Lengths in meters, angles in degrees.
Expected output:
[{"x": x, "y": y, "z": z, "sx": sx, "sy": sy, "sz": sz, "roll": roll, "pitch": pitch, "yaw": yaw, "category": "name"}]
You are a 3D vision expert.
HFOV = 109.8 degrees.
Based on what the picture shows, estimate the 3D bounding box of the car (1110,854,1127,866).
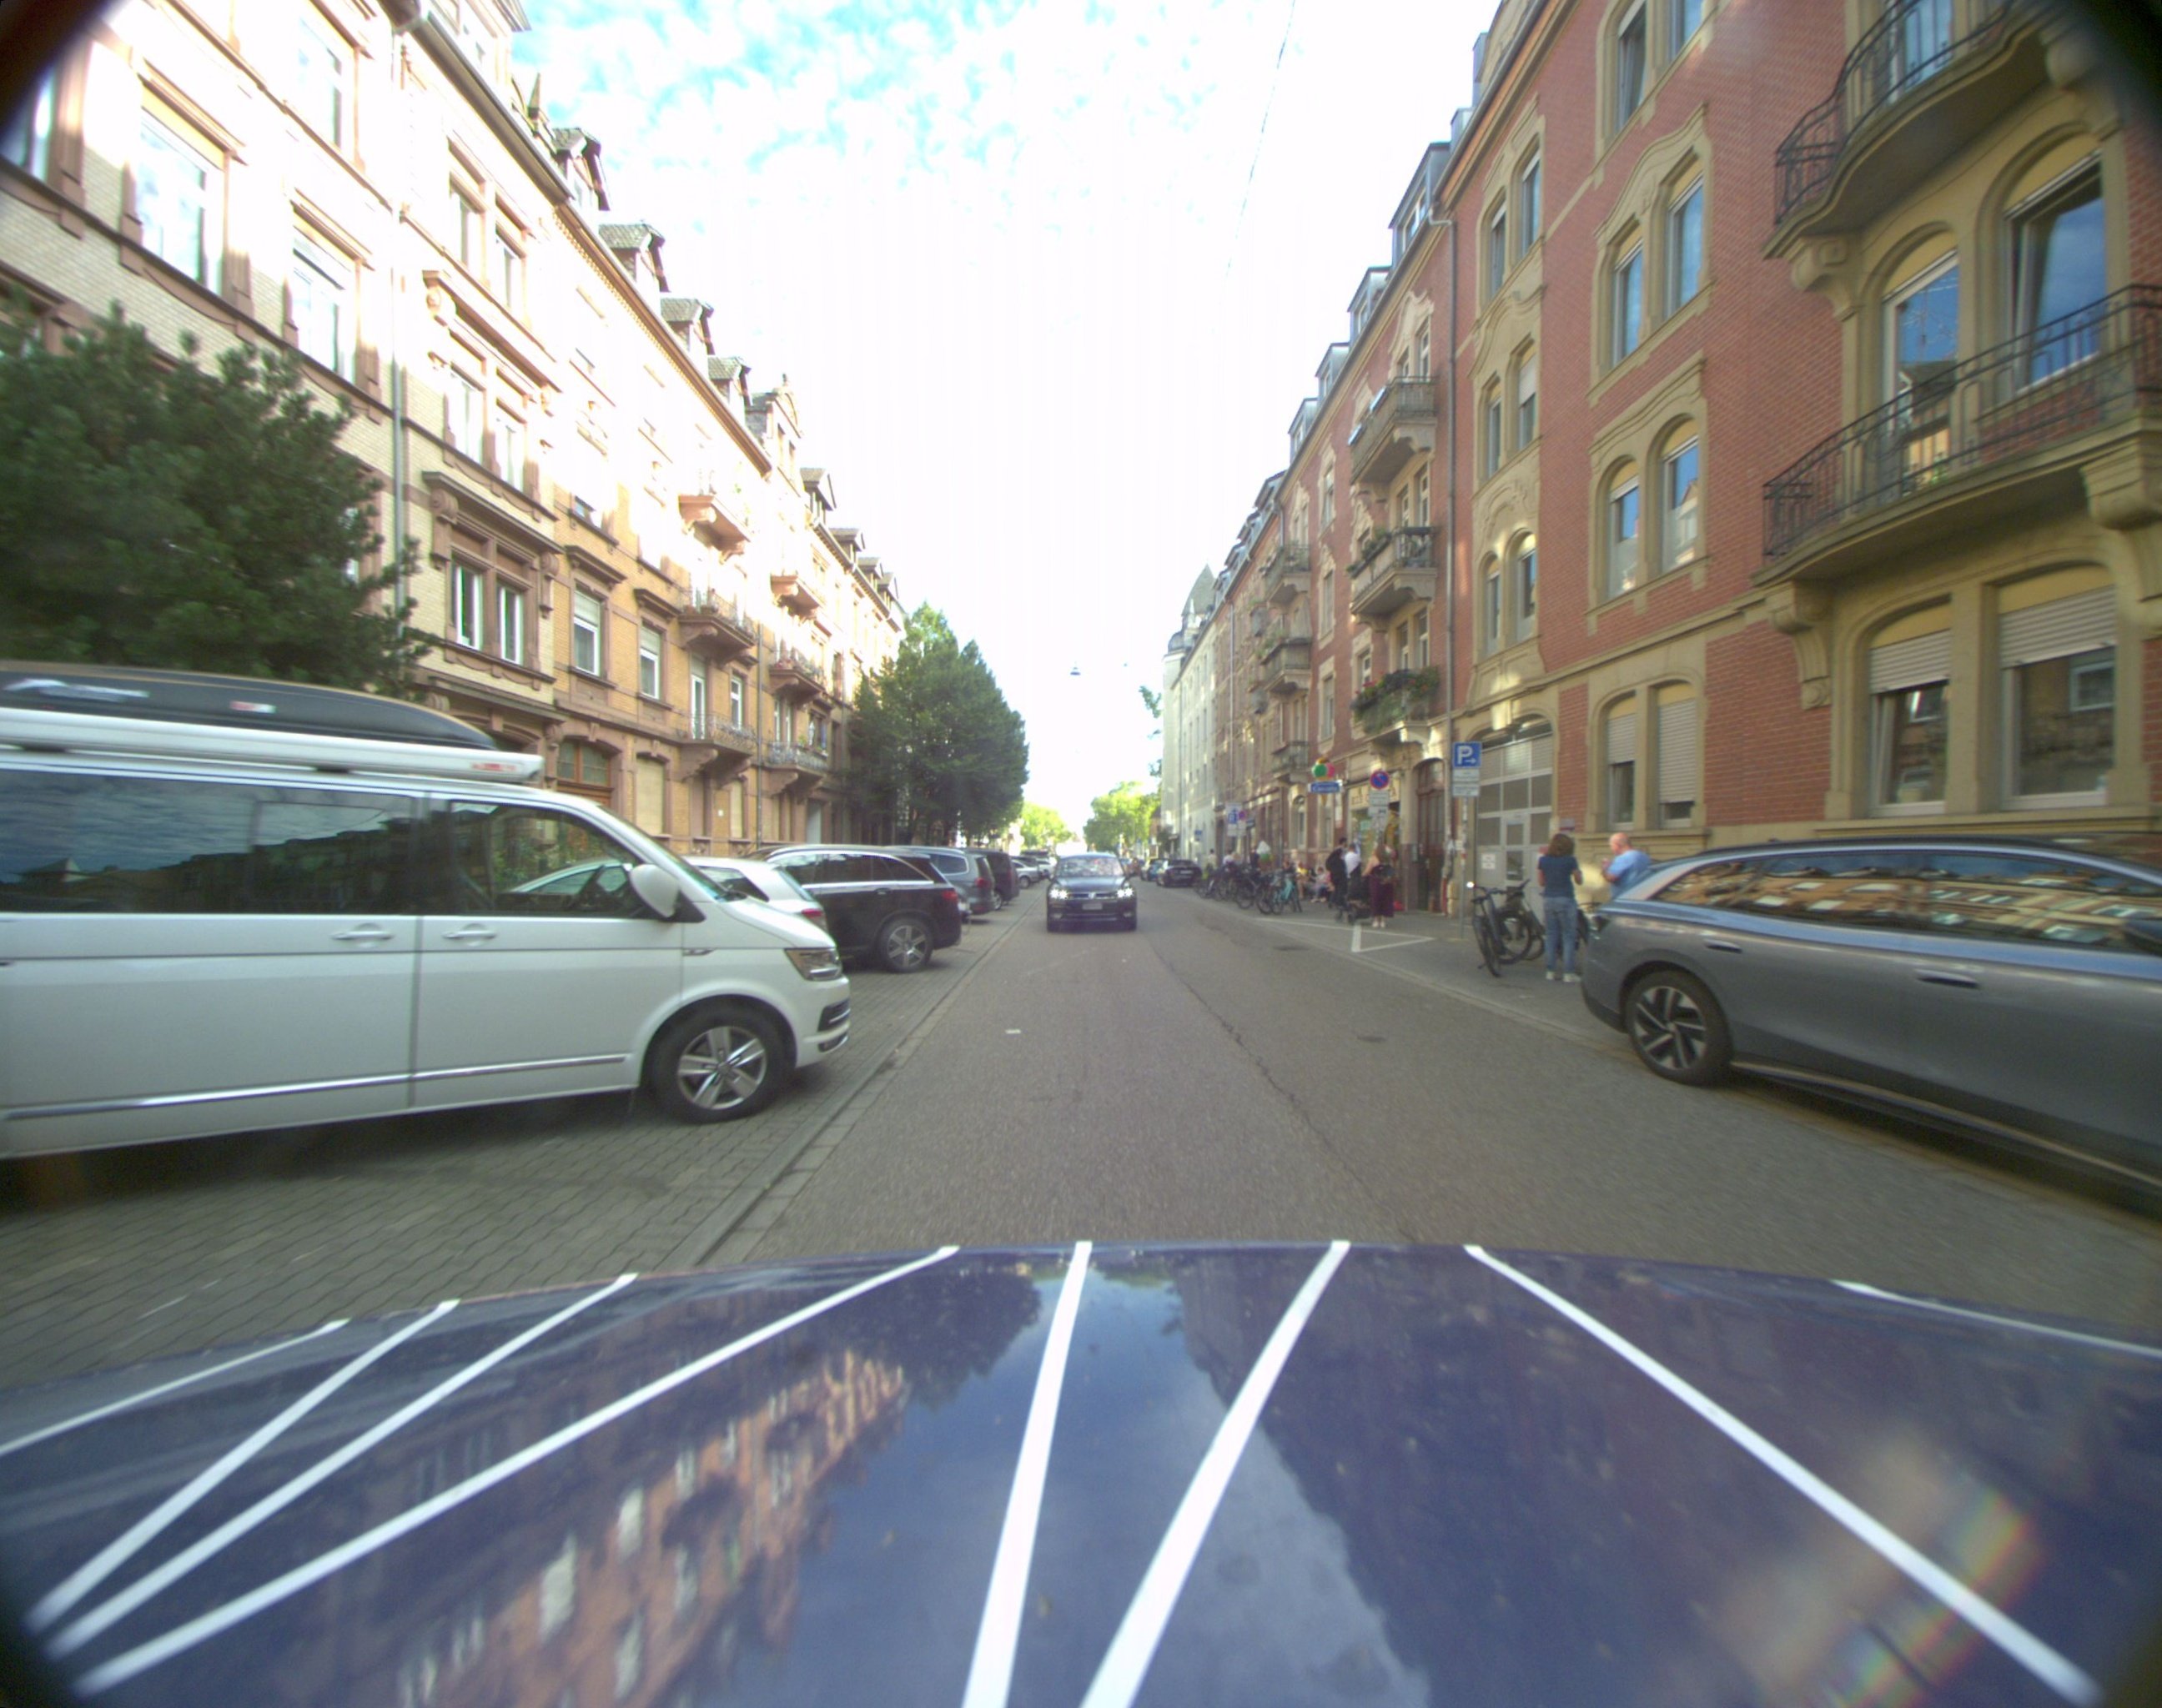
[{"x": 4.766, "y": 0.743, "z": 96.586, "sx": 1.911, "sy": 1.412, "sz": 4.000, "roll": -1, "pitch": 0, "yaw": 0, "category": "car"}]

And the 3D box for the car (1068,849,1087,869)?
[{"x": -0.311, "y": 0.509, "z": 75.683, "sx": 1.811, "sy": 1.914, "sz": 4.000, "roll": -2, "pitch": 0, "yaw": 1, "category": "car"}]

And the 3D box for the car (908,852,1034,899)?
[{"x": -3.884, "y": 0.794, "z": 27.067, "sx": 4.009, "sy": 1.539, "sz": 1.864, "roll": 3, "pitch": -1, "yaw": -37, "category": "car"}]

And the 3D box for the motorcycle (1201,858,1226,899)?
[{"x": 4.746, "y": 0.849, "z": 27.135, "sx": 0.708, "sy": 1.376, "sz": 2.026, "roll": -1, "pitch": 0, "yaw": 14, "category": "motorcycle"}]

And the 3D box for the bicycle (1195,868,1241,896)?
[{"x": 5.224, "y": 1.064, "z": 28.955, "sx": 1.683, "sy": 1.024, "sz": 0.410, "roll": -1, "pitch": 1, "yaw": 20, "category": "bicycle"}]

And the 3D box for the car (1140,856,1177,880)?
[{"x": 4.838, "y": 0.838, "z": 47.798, "sx": 1.674, "sy": 1.407, "sz": 4.010, "roll": -1, "pitch": 0, "yaw": -4, "category": "car"}]

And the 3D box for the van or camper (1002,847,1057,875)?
[{"x": -4.275, "y": 0.546, "z": 62.983, "sx": 4.006, "sy": 2.166, "sz": 1.995, "roll": -1, "pitch": 0, "yaw": -30, "category": "van or camper"}]

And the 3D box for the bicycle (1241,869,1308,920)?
[{"x": 4.926, "y": 0.992, "z": 19.244, "sx": 0.806, "sy": 1.152, "sz": 2.274, "roll": -1, "pitch": 0, "yaw": 37, "category": "bicycle"}]

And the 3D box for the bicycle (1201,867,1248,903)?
[{"x": 4.782, "y": 1.001, "z": 25.236, "sx": 1.573, "sy": 1.114, "sz": 0.589, "roll": -1, "pitch": 0, "yaw": -36, "category": "bicycle"}]

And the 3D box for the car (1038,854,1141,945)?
[{"x": 0.285, "y": 0.847, "z": 16.210, "sx": 1.874, "sy": 1.644, "sz": 4.388, "roll": -1, "pitch": 0, "yaw": 4, "category": "car"}]

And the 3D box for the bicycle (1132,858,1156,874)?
[{"x": 4.993, "y": 0.958, "z": 60.605, "sx": 1.872, "sy": 1.168, "sz": 0.688, "roll": -1, "pitch": 1, "yaw": 1, "category": "bicycle"}]

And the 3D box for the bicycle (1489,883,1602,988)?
[{"x": 5.786, "y": 0.971, "z": 9.586, "sx": 0.494, "sy": 1.089, "sz": 1.905, "roll": -2, "pitch": 1, "yaw": 9, "category": "bicycle"}]

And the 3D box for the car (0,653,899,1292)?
[{"x": -3.832, "y": 0.453, "z": 4.109, "sx": 5.169, "sy": 2.391, "sz": 1.913, "roll": 1, "pitch": 0, "yaw": -33, "category": "car"}]

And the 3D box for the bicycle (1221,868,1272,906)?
[{"x": 5.238, "y": 1.011, "z": 24.034, "sx": 1.741, "sy": 1.114, "sz": 0.554, "roll": -1, "pitch": 0, "yaw": -36, "category": "bicycle"}]

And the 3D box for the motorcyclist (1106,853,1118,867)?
[{"x": 2.958, "y": 0.574, "z": 73.138, "sx": 1.016, "sy": 1.238, "sz": 0.802, "roll": -1, "pitch": 1, "yaw": -6, "category": "motorcyclist"}]

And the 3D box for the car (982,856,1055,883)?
[{"x": -3.816, "y": 0.925, "z": 46.988, "sx": 4.133, "sy": 1.512, "sz": 1.840, "roll": -1, "pitch": 1, "yaw": -37, "category": "car"}]

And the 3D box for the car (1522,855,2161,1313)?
[{"x": 4.642, "y": 0.809, "z": 3.554, "sx": 1.830, "sy": 1.569, "sz": 5.261, "roll": -1, "pitch": 0, "yaw": -4, "category": "car"}]

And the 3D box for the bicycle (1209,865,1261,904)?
[{"x": 5.001, "y": 0.975, "z": 24.621, "sx": 1.794, "sy": 1.193, "sz": 0.589, "roll": -1, "pitch": 0, "yaw": -36, "category": "bicycle"}]

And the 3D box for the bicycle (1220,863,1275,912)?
[{"x": 4.727, "y": 0.927, "z": 21.507, "sx": 1.680, "sy": 1.314, "sz": 0.526, "roll": -1, "pitch": 1, "yaw": -36, "category": "bicycle"}]

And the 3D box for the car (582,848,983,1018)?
[{"x": -3.738, "y": 0.809, "z": 9.838, "sx": 4.466, "sy": 1.722, "sz": 1.995, "roll": -1, "pitch": 0, "yaw": -35, "category": "car"}]

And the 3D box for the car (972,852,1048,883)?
[{"x": -4.090, "y": 0.782, "z": 44.156, "sx": 4.008, "sy": 1.689, "sz": 1.848, "roll": 1, "pitch": -1, "yaw": -35, "category": "car"}]

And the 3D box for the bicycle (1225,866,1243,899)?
[{"x": 5.436, "y": 0.980, "z": 26.919, "sx": 0.579, "sy": 1.084, "sz": 1.740, "roll": -1, "pitch": 0, "yaw": 13, "category": "bicycle"}]

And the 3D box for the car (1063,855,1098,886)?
[{"x": 0.008, "y": 0.893, "z": 43.511, "sx": 1.811, "sy": 1.622, "sz": 4.000, "roll": -2, "pitch": 0, "yaw": 1, "category": "car"}]

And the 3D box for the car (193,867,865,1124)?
[{"x": -4.330, "y": 0.923, "z": 6.731, "sx": 4.245, "sy": 1.540, "sz": 1.868, "roll": -1, "pitch": -1, "yaw": -35, "category": "car"}]

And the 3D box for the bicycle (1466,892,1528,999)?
[{"x": 5.030, "y": 1.051, "z": 9.266, "sx": 0.482, "sy": 1.053, "sz": 1.907, "roll": -2, "pitch": 1, "yaw": 24, "category": "bicycle"}]

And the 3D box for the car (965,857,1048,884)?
[{"x": -4.015, "y": 0.898, "z": 41.229, "sx": 4.146, "sy": 1.409, "sz": 1.864, "roll": 1, "pitch": -1, "yaw": -36, "category": "car"}]

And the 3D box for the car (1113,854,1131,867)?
[{"x": 4.875, "y": 0.762, "z": 90.332, "sx": 1.911, "sy": 1.412, "sz": 4.000, "roll": -1, "pitch": 0, "yaw": 0, "category": "car"}]

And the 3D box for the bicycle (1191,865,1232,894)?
[{"x": 5.087, "y": 1.002, "z": 29.771, "sx": 1.577, "sy": 1.110, "sz": 0.375, "roll": -1, "pitch": 1, "yaw": 38, "category": "bicycle"}]

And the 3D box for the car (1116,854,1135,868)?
[{"x": 4.900, "y": 0.759, "z": 84.246, "sx": 1.828, "sy": 1.477, "sz": 4.169, "roll": -1, "pitch": 0, "yaw": 0, "category": "car"}]

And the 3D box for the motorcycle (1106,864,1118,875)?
[{"x": 2.971, "y": 1.475, "z": 73.122, "sx": 0.796, "sy": 0.989, "sz": 2.498, "roll": -1, "pitch": 0, "yaw": -7, "category": "motorcycle"}]

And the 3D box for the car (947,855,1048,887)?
[{"x": -4.128, "y": 0.874, "z": 37.878, "sx": 4.621, "sy": 1.443, "sz": 1.788, "roll": 2, "pitch": 0, "yaw": -32, "category": "car"}]

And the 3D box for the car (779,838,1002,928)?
[{"x": -4.268, "y": 0.672, "z": 17.641, "sx": 4.649, "sy": 1.774, "sz": 1.810, "roll": 3, "pitch": -2, "yaw": -1, "category": "car"}]

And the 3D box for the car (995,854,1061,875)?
[{"x": -4.190, "y": 0.844, "z": 60.443, "sx": 4.817, "sy": 1.535, "sz": 1.866, "roll": 2, "pitch": 0, "yaw": -32, "category": "car"}]
